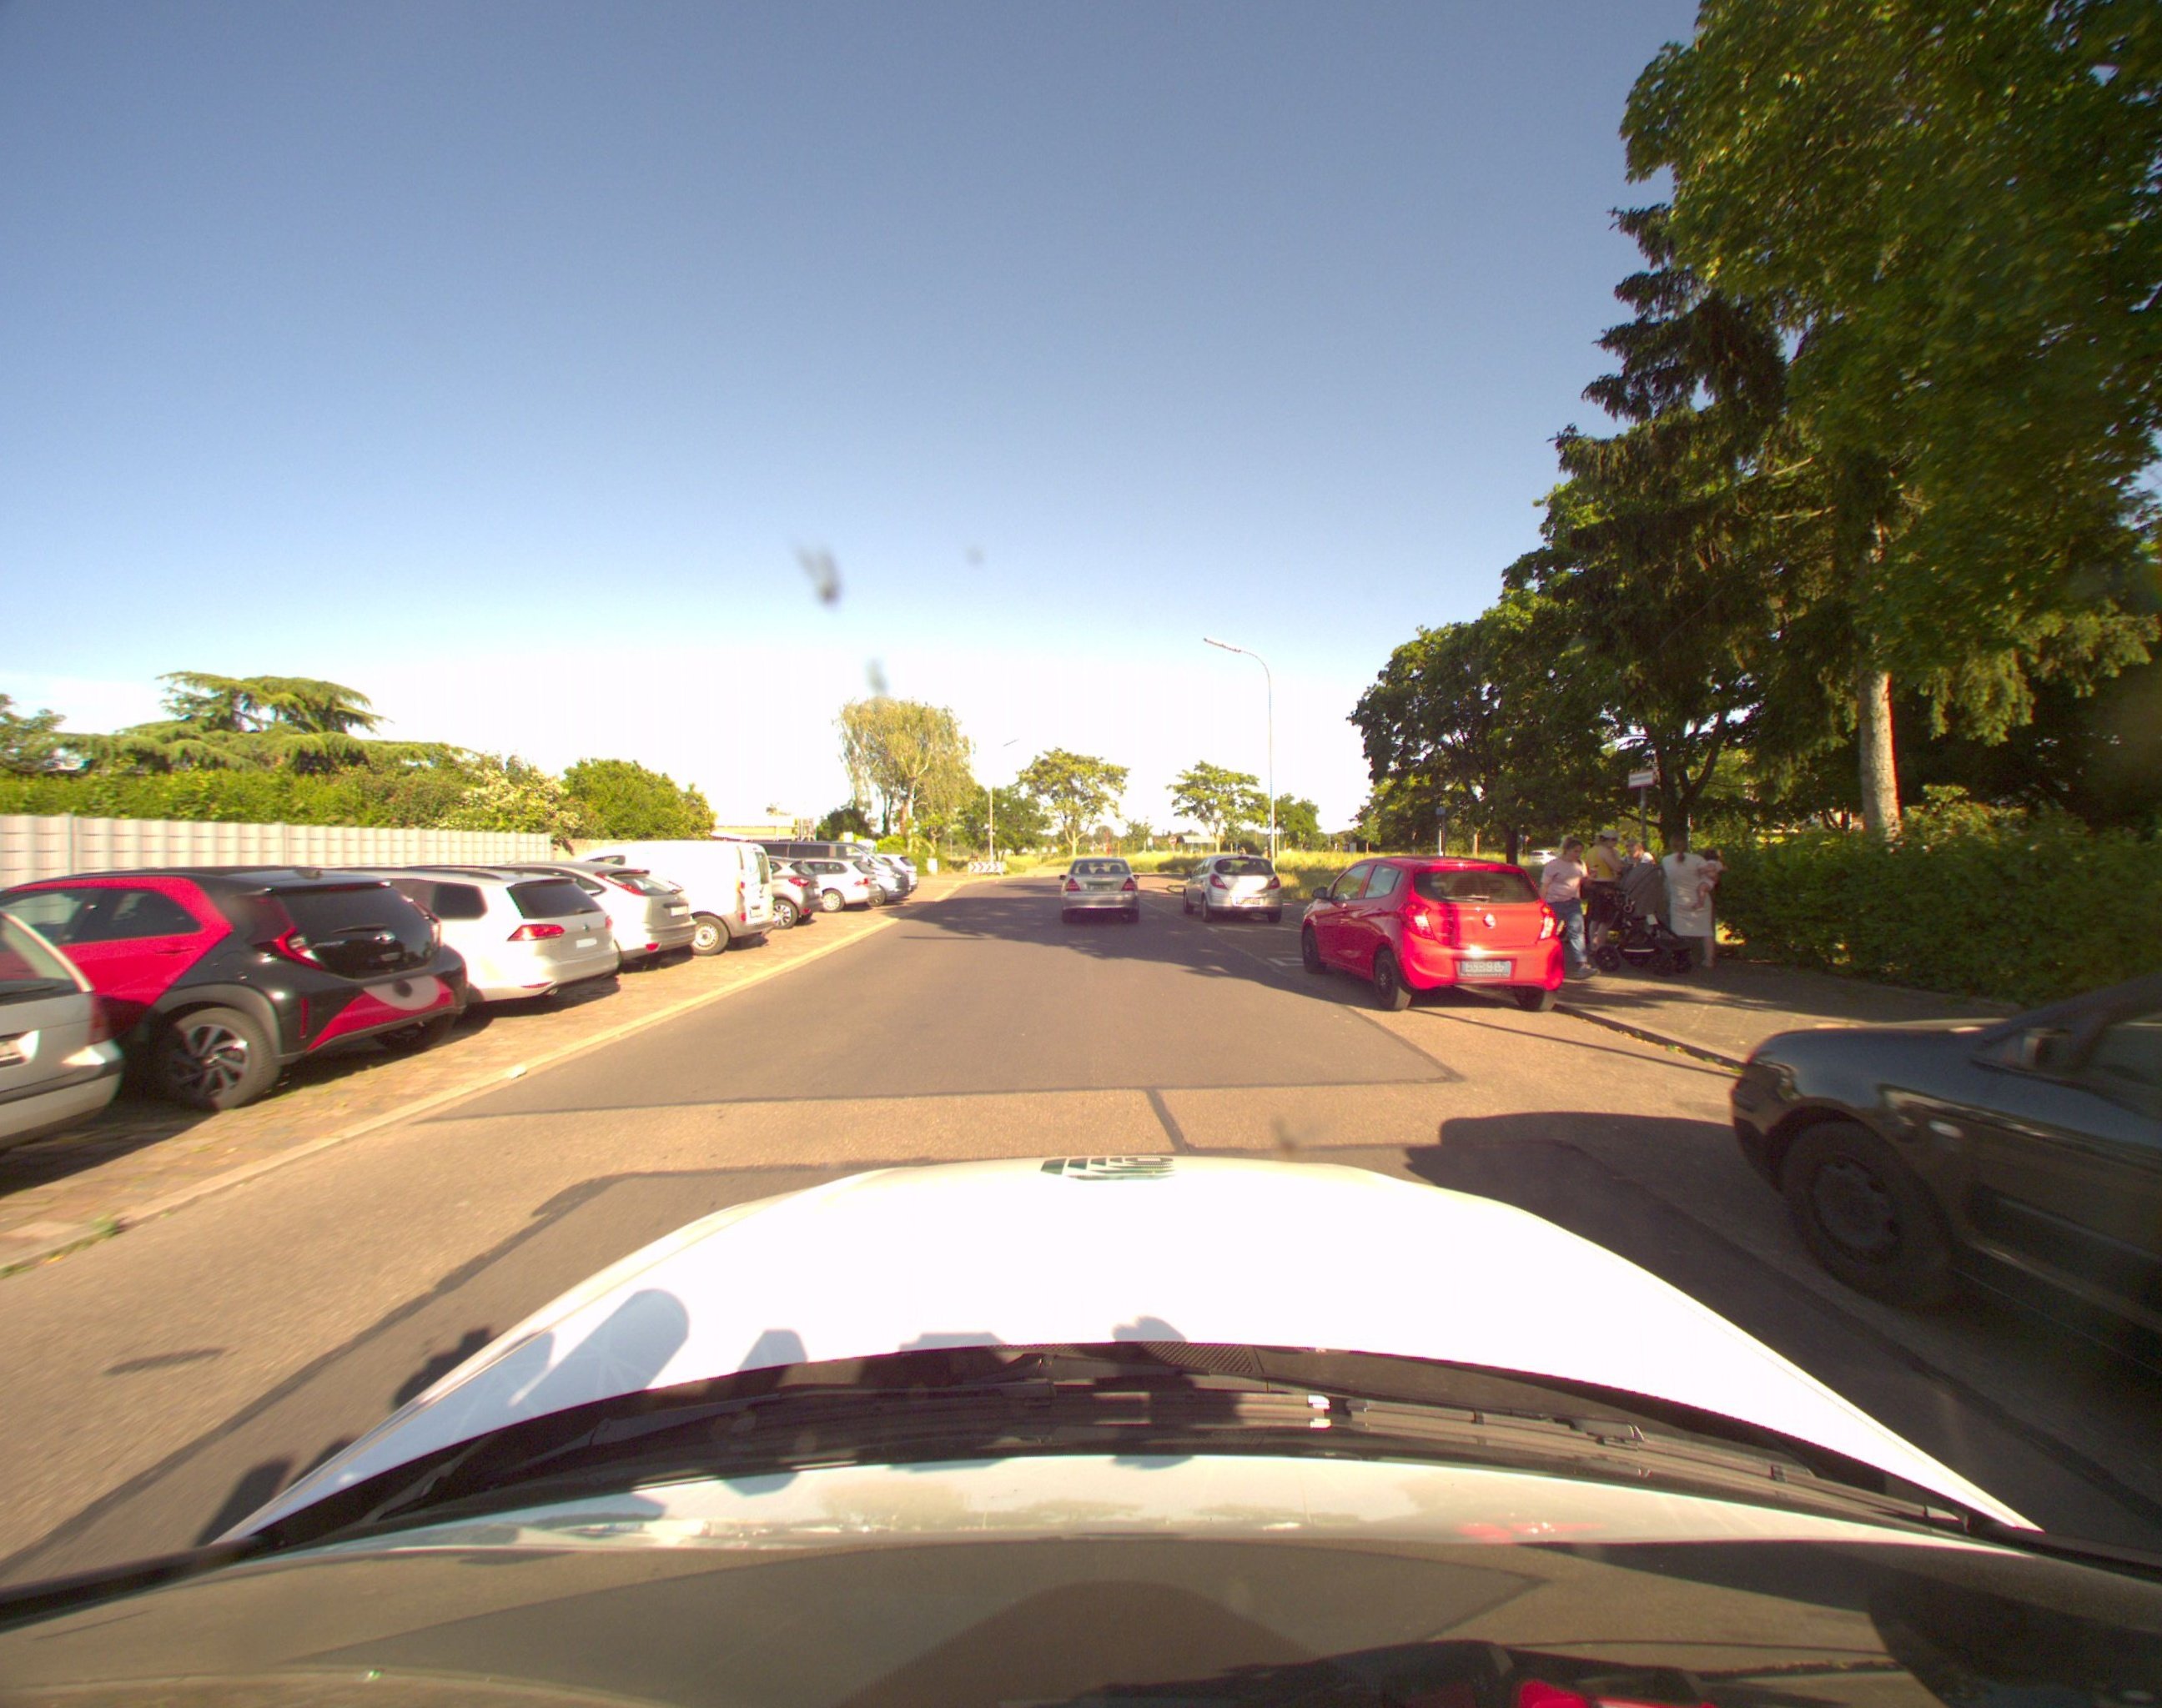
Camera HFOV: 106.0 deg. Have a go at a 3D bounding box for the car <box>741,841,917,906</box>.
[{"bbox_3d":[-7.709,0.589,25.329,4.864,1.915,1.996,0,-1,-5],"label":"car"}]

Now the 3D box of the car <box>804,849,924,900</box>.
[{"bbox_3d":[-7.399,0.697,27.988,3.601,1.607,1.732,1,-1,-1],"label":"car"}]

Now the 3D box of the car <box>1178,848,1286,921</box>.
[{"bbox_3d":[3.421,0.655,19.105,1.727,1.543,3.785,0,0,-2],"label":"car"}]

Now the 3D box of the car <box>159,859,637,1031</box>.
[{"bbox_3d":[-6.793,0.840,8.367,3.500,1.489,1.637,1,0,2],"label":"car"}]

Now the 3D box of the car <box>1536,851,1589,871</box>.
[{"bbox_3d":[38.498,0.543,65.095,3.742,1.479,1.715,-1,-1,-21],"label":"car"}]

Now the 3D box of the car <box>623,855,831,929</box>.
[{"bbox_3d":[-7.640,0.789,17.901,3.809,1.532,1.785,0,-1,-6],"label":"car"}]

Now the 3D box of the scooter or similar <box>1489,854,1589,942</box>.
[{"bbox_3d":[6.814,0.636,12.159,0.401,1.227,1.241,-1,-1,-31],"label":"scooter or similar"}]

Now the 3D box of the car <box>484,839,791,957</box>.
[{"bbox_3d":[-7.122,0.672,13.453,3.969,1.780,1.923,0,0,-4],"label":"car"}]

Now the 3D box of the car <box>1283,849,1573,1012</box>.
[{"bbox_3d":[3.583,0.699,9.188,1.571,1.446,3.785,0,0,-2],"label":"car"}]

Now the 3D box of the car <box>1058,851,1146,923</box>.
[{"bbox_3d":[0.435,0.686,19.072,1.810,1.463,4.360,0,0,0],"label":"car"}]

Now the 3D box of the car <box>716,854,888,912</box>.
[{"bbox_3d":[-7.702,0.783,22.828,4.126,1.492,1.924,1,-1,-2],"label":"car"}]

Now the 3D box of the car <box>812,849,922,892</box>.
[{"bbox_3d":[-8.702,0.682,33.341,3.975,1.612,1.818,1,-1,-1],"label":"car"}]

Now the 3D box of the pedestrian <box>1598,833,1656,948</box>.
[{"bbox_3d":[7.396,0.486,11.047,0.360,1.503,0.500,-2,-1,-3],"label":"pedestrian"}]

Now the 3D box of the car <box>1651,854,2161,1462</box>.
[{"bbox_3d":[3.384,0.736,1.756,1.641,1.403,3.883,-1,0,1],"label":"car"}]

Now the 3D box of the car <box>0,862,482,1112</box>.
[{"bbox_3d":[-6.756,0.858,5.929,3.505,1.489,1.635,1,1,-3],"label":"car"}]

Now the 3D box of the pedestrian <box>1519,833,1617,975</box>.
[{"bbox_3d":[5.603,0.571,9.410,0.781,1.565,0.572,-3,-2,18],"label":"pedestrian"}]

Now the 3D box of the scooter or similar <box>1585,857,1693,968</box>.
[{"bbox_3d":[6.523,0.659,9.564,0.621,1.227,0.905,-1,-1,-1],"label":"scooter or similar"}]

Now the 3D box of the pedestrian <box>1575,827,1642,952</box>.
[{"bbox_3d":[6.865,0.454,10.626,0.478,1.565,0.599,-2,-1,10],"label":"pedestrian"}]

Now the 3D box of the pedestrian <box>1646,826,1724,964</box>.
[{"bbox_3d":[7.107,0.470,9.600,0.484,1.565,0.468,-2,-1,-4],"label":"pedestrian"}]

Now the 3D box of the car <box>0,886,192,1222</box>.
[{"bbox_3d":[-6.528,0.867,3.436,3.507,1.446,1.634,1,-1,-5],"label":"car"}]

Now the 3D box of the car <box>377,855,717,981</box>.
[{"bbox_3d":[-7.170,0.812,11.198,3.500,1.489,1.729,1,0,2],"label":"car"}]
